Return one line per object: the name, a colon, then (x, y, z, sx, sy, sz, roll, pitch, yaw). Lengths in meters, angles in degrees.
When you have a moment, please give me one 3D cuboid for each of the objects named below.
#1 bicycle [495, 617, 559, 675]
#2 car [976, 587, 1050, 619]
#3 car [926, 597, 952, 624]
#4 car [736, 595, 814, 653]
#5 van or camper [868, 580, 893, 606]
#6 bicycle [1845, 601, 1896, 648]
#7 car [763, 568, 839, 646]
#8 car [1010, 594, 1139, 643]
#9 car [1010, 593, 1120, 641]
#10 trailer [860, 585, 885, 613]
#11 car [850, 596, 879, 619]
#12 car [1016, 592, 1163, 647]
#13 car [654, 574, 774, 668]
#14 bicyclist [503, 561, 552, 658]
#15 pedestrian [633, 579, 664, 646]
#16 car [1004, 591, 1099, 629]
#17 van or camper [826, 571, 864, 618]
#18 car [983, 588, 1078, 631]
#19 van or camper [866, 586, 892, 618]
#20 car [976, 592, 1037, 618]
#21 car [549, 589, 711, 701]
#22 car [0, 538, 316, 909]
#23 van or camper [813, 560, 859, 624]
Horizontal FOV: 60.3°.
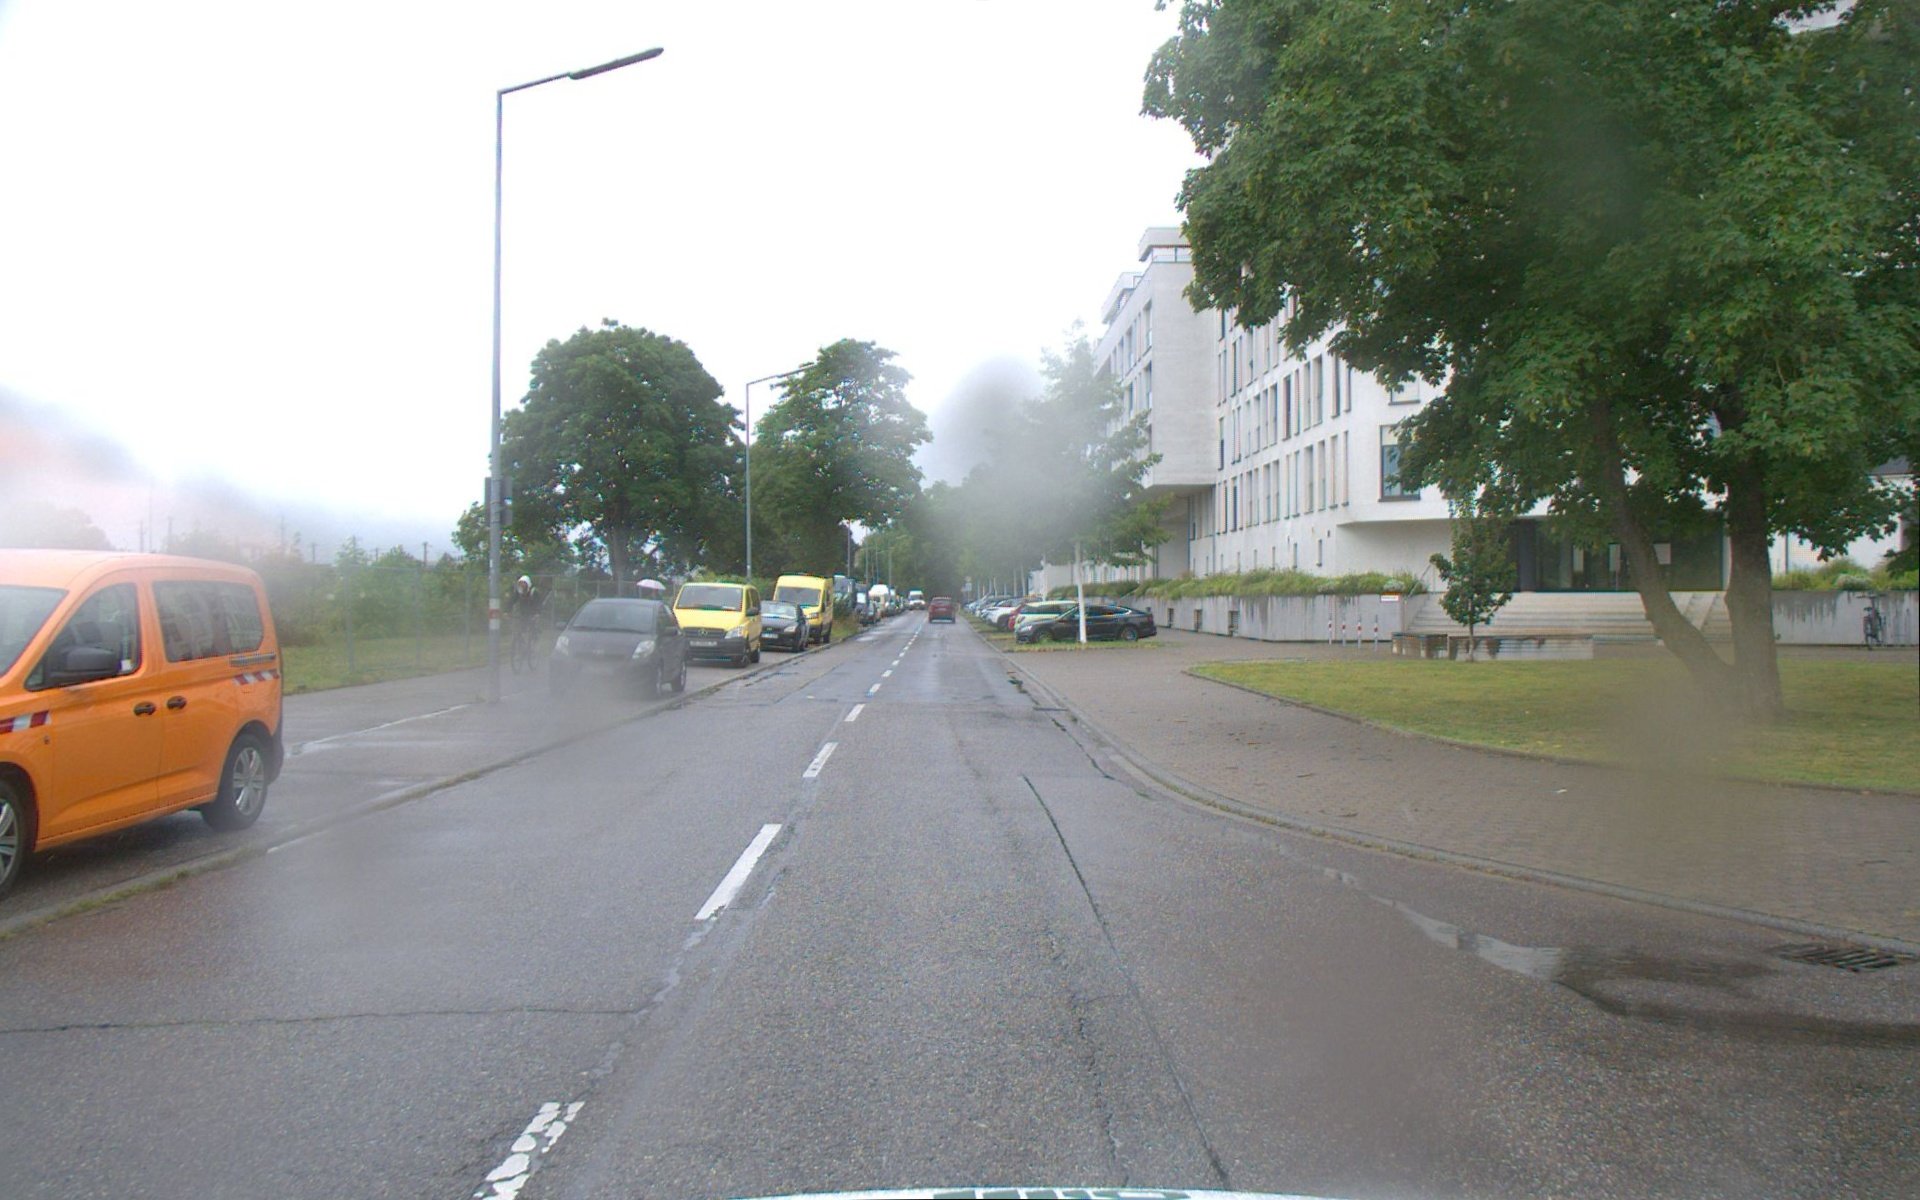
bicycle: (-8.487, 0.886, 32.510, 0.701, 1.060, 2.144, 1, 0, 0)
car: (3.294, 0.197, 103.424, 4.387, 1.716, 1.935, -3, 1, -3)
car: (-1.428, 0.702, 111.104, 1.720, 1.736, 3.999, 0, 0, -1)
car: (-5.710, 0.723, 51.537, 1.953, 1.622, 5.015, 2, 0, -2)
van or camper: (-7.836, -0.666, 164.291, 2.144, 2.505, 6.376, 1, 0, 0)
bicycle: (21.373, 0.560, 38.811, 0.711, 1.051, 2.063, 0, 0, 38)
car: (-6.032, 0.255, 63.484, 2.147, 2.741, 6.082, 2, 0, 1)
car: (4.024, 0.639, 58.775, 4.397, 1.507, 1.692, -3, 0, -1)
car: (3.860, 0.632, 61.436, 3.906, 1.583, 1.634, -3, 0, -1)
trailer: (-7.269, -0.085, 137.852, 2.017, 2.256, 5.792, 1, 0, -2)
car: (-6.646, 0.510, 115.266, 1.738, 1.529, 4.827, 2, 0, 0)
car: (4.101, 0.607, 52.792, 4.478, 1.523, 1.825, -3, 0, -2)
car: (-5.720, 0.457, 39.239, 1.976, 1.990, 6.064, 2, 0, -1)
bicyclist: (-8.478, 0.177, 32.468, 0.684, 1.861, 1.008, 1, 0, -1)
pedestrian: (-9.650, 0.374, 51.269, 0.727, 2.049, 0.980, 1, 0, 0)
car: (3.938, 0.457, 71.534, 3.906, 1.477, 1.820, -2, -1, -2)
van or camper: (-7.150, -0.324, 103.574, 2.052, 2.763, 7.570, 2, -1, -2)
car: (3.455, 0.455, 81.711, 4.451, 1.714, 1.884, -5, 0, -4)
van or camper: (-7.406, 0.209, 151.930, 1.953, 2.810, 7.897, 1, 0, 0)
car: (3.031, 0.310, 108.106, 3.906, 1.536, 1.684, -2, 1, -1)
car: (-5.205, 0.657, 26.570, 1.767, 1.588, 4.032, 2, 0, 0)
car: (-5.573, 0.592, 9.614, 1.900, 1.798, 4.331, 0, 0, 1)
van or camper: (-6.535, -0.395, 87.681, 2.052, 3.148, 6.421, 3, -1, -2)
